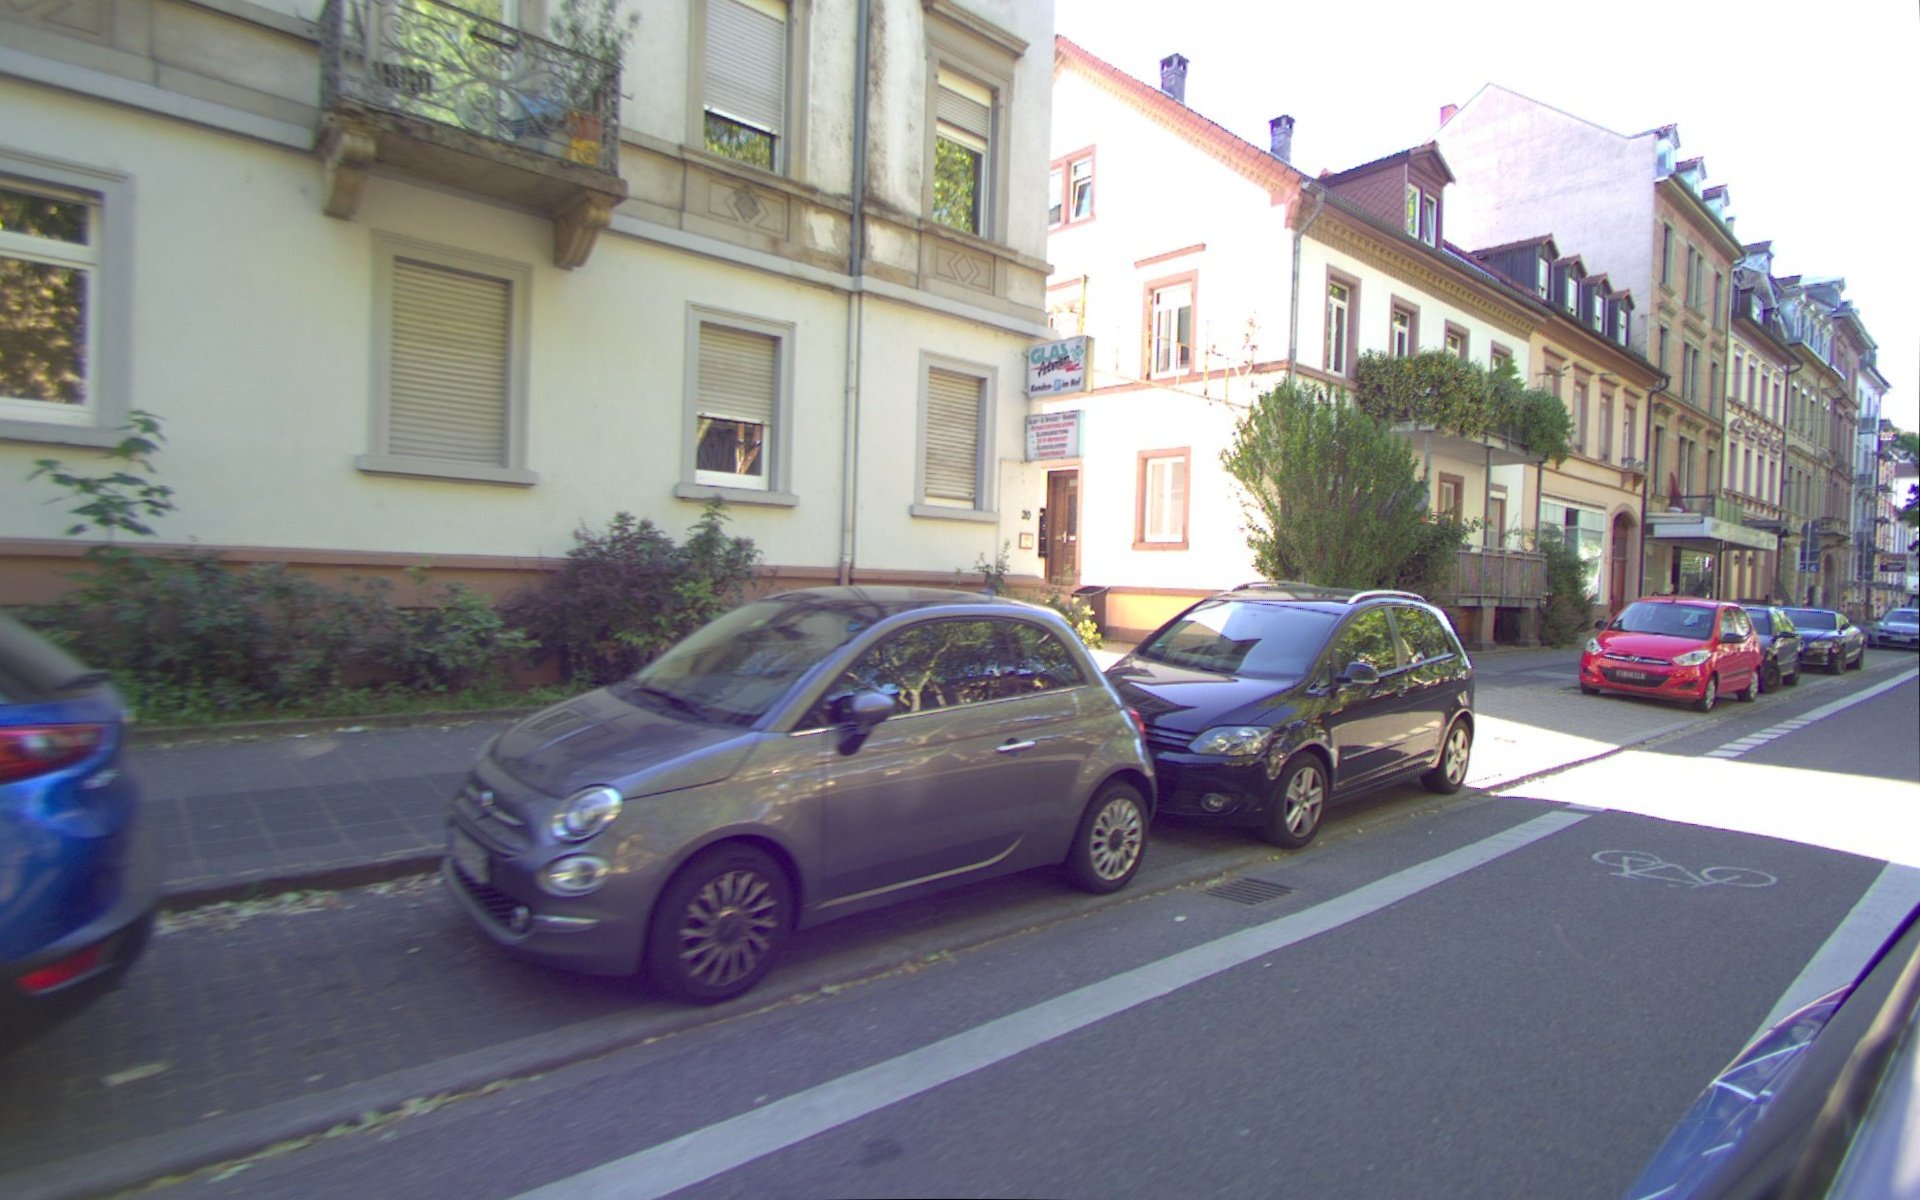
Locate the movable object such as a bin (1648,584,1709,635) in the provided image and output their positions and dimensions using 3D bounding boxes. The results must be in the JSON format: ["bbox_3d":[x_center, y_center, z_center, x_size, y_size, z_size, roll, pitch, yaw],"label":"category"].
[{"bbox_3d":[22.767,0.281,32.087,1.264,1.539,1.296,0,1,-41],"label":"movable object such as a bin"}]

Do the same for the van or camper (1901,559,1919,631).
[{"bbox_3d":[44.049,-0.117,44.700,7.743,3.007,2.485,0,5,-40],"label":"van or camper"}]

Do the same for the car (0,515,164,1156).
[{"bbox_3d":[-4.147,0.512,2.043,3.954,1.473,1.886,0,5,-40],"label":"car"}]

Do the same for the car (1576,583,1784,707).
[{"bbox_3d":[10.808,0.584,15.126,3.512,1.565,1.639,0,3,-40],"label":"car"}]

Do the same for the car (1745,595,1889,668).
[{"bbox_3d":[19.339,0.637,22.770,4.414,1.409,1.698,0,3,-40],"label":"car"}]

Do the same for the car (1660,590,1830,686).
[{"bbox_3d":[14.163,0.609,18.200,3.801,1.474,1.654,0,3,-41],"label":"car"}]

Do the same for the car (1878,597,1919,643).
[{"bbox_3d":[33.515,0.689,35.197,4.584,1.452,1.813,0,3,-42],"label":"car"}]

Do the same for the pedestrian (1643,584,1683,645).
[{"bbox_3d":[17.672,0.354,25.440,0.772,1.501,0.659,0,1,-42],"label":"pedestrian"}]

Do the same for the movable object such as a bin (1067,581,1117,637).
[{"bbox_3d":[2.691,0.177,20.653,0.781,1.039,0.629,-7,6,-42],"label":"movable object such as a bin"}]

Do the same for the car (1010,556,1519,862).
[{"bbox_3d":[2.444,0.577,7.654,3.866,1.604,1.884,0,5,-42],"label":"car"}]

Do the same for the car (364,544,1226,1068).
[{"bbox_3d":[-0.578,0.579,4.913,3.703,1.473,1.803,0,5,-42],"label":"car"}]

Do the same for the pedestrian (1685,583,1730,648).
[{"bbox_3d":[18.266,0.367,24.722,0.851,1.523,0.661,0,2,-42],"label":"pedestrian"}]
